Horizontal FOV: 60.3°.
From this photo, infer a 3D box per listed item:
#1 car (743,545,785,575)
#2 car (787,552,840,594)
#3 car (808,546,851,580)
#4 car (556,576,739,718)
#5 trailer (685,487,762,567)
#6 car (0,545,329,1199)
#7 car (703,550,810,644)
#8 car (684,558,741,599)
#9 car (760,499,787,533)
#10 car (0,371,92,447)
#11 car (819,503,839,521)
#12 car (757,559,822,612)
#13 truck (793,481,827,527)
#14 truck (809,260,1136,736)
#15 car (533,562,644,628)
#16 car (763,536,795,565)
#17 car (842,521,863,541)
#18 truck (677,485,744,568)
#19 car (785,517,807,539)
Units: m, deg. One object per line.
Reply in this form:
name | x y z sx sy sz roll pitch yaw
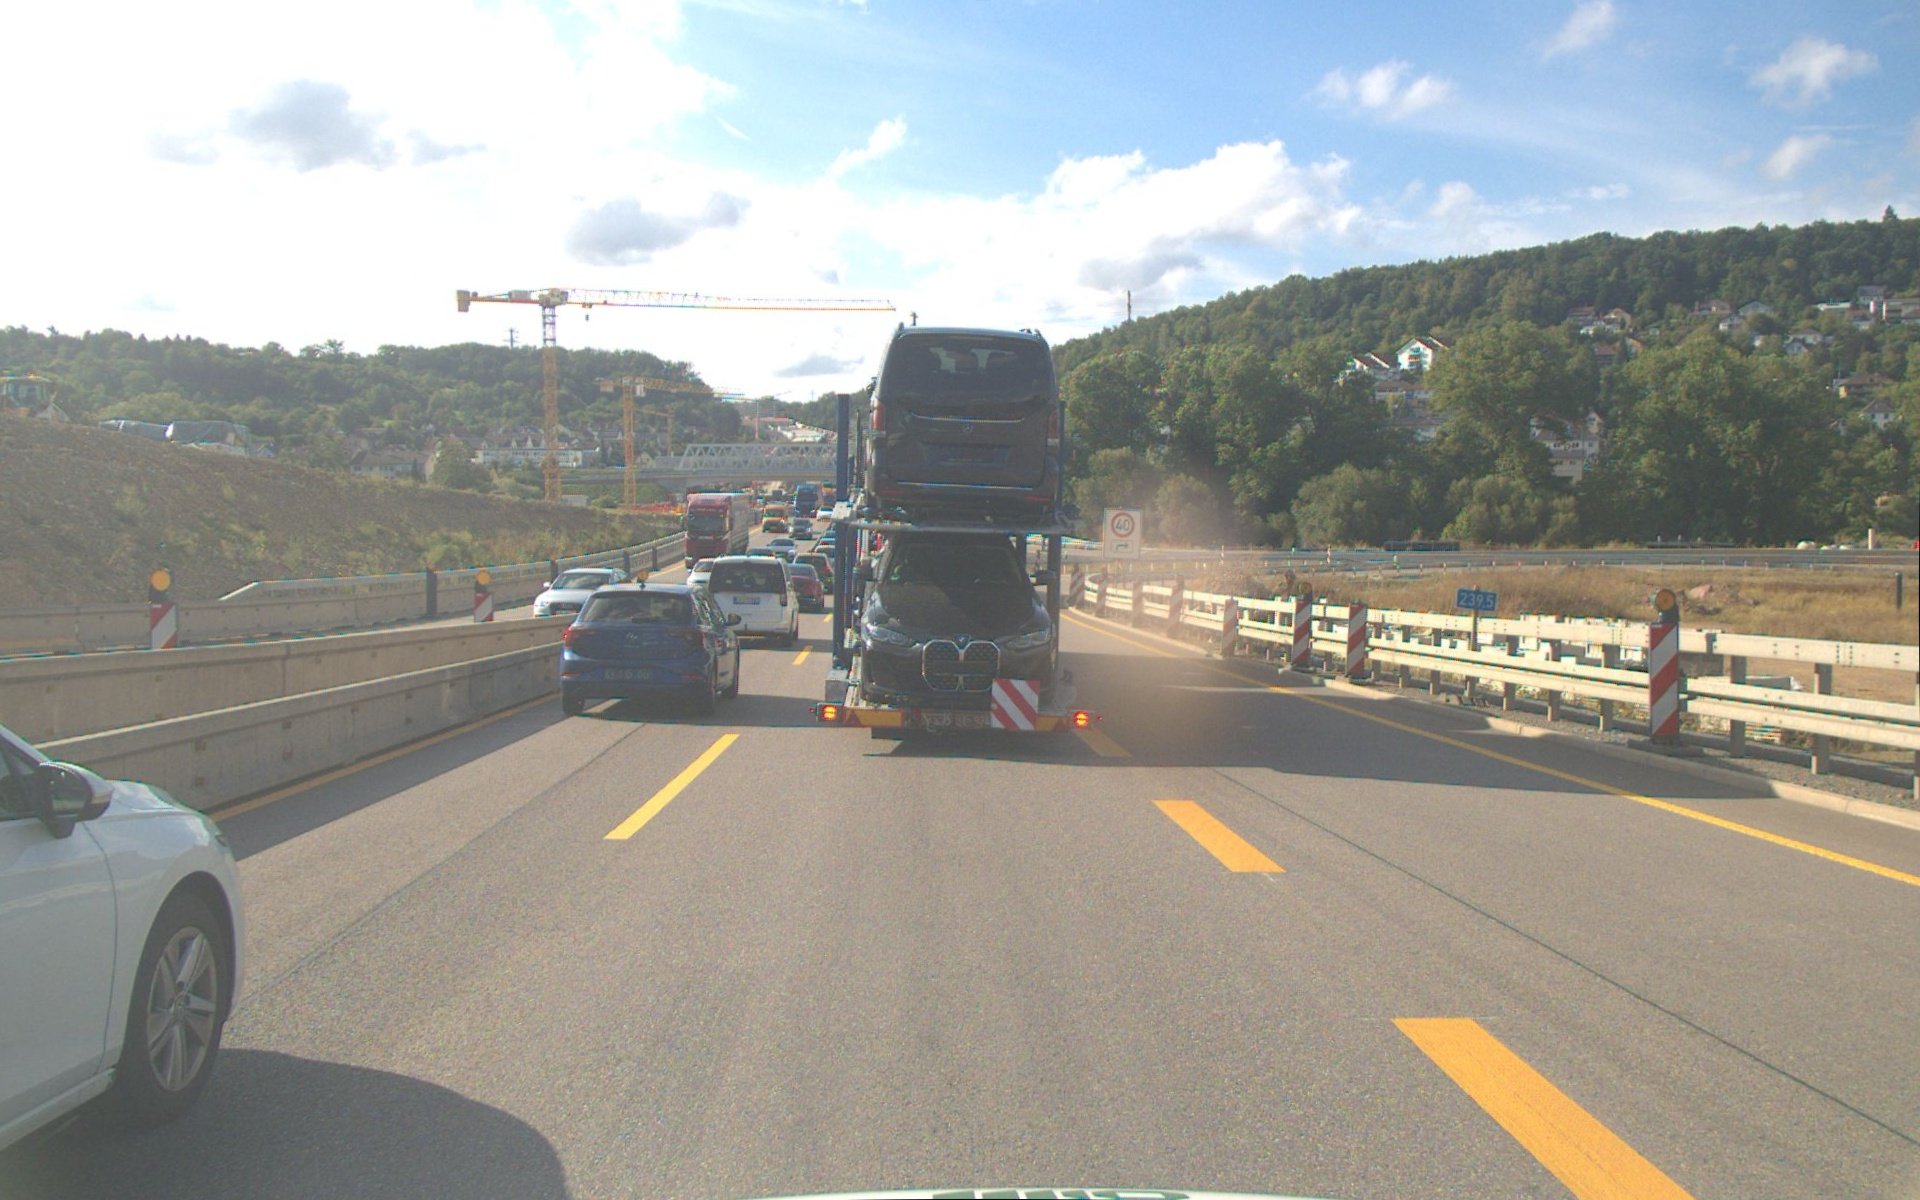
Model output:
car | -10.164 -2.042 85.920 1.784 1.465 4.612 1 1 -2
car | -6.041 -1.098 68.619 1.953 1.579 3.998 1 -1 -2
car | -6.782 -1.936 86.261 1.953 1.695 4.000 1 2 -1
car | -3.589 0.476 19.602 1.688 1.446 3.997 1 1 -5
trailer | -14.447 -4.371 102.206 2.916 4.499 13.814 2 1 -1
car | -2.861 0.646 3.057 1.734 1.517 4.515 0 -1 -1
car | -4.207 -0.040 34.732 1.786 1.823 3.999 1 -1 -1
car | -9.249 -0.809 62.030 1.719 1.465 3.803 1 1 -3
car | -16.904 -7.595 149.895 1.953 2.929 6.063 1 2 -2
car | -35.831 -7.305 63.805 1.954 2.177 5.318 -4 0 -3
car | -14.592 -9.772 184.393 1.953 1.713 3.998 1 -1 -2
car | -5.456 -0.439 53.276 1.954 1.584 4.396 1 -1 -5
truck | -18.619 -11.896 206.623 2.764 4.872 13.055 1 -1 1
truck | -0.346 -0.900 23.780 2.698 4.023 18.878 2 0 -3
car | -8.888 -0.142 39.947 1.815 1.465 4.556 1 1 -3
car | -11.354 -3.104 103.978 1.808 1.677 4.501 1 1 -4
car | -9.808 -6.275 150.232 1.808 1.677 4.501 1 1 -5
truck | -14.264 -4.137 95.009 2.855 4.463 6.285 2 1 -1
car | -13.621 -5.955 137.536 1.808 1.677 4.232 1 1 -5
